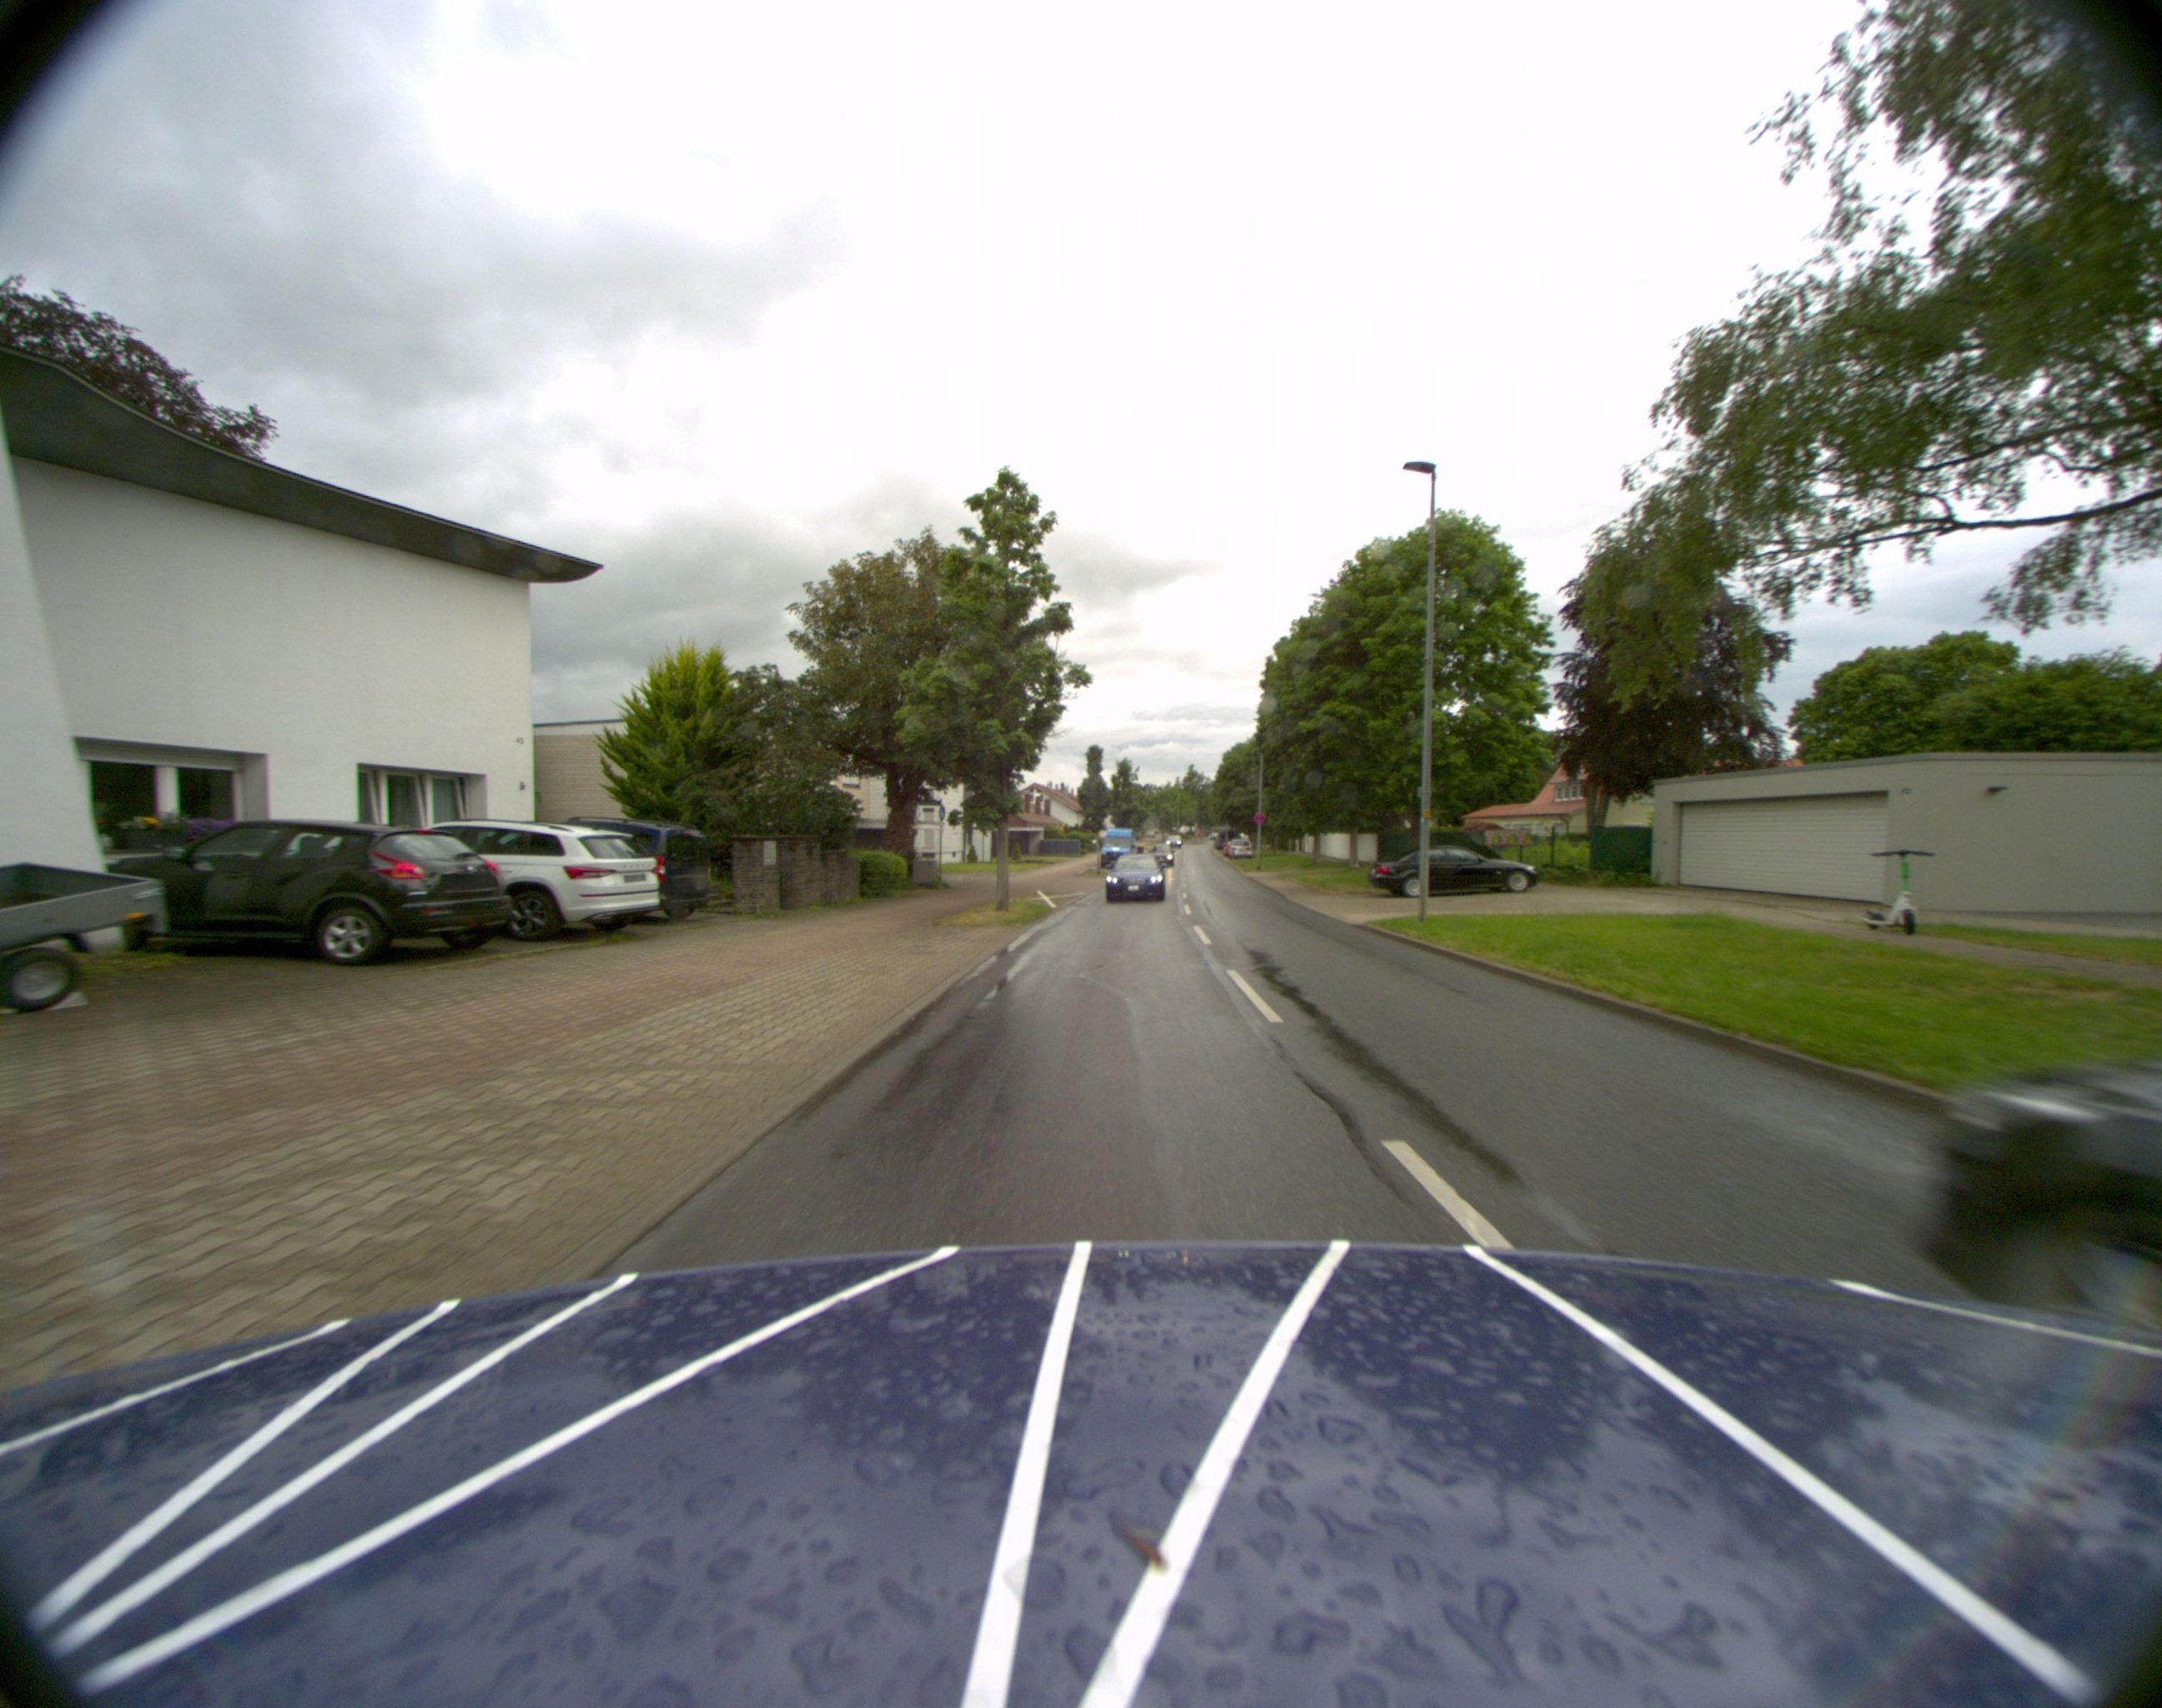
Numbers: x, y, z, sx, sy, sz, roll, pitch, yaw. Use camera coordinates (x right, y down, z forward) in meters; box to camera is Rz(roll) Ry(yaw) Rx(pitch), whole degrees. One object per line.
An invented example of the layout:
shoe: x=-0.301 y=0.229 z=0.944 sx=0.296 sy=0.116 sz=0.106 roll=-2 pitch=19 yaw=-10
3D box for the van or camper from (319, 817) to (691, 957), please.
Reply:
van or camper: x=-8.477 y=0.430 z=11.476 sx=3.996 sy=1.668 sz=2.123 roll=4 pitch=1 yaw=3

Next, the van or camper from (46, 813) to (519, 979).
van or camper: x=-8.753 y=0.422 z=8.600 sx=3.411 sy=1.547 sz=1.769 roll=2 pitch=1 yaw=-2

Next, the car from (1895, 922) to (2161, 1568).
car: x=3.342 y=0.920 z=0.233 sx=1.759 sy=1.432 sz=4.157 roll=-2 pitch=0 yaw=1

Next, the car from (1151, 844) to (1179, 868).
car: x=5.920 y=0.122 z=54.010 sx=1.846 sy=1.531 sz=4.001 roll=-2 pitch=1 yaw=5

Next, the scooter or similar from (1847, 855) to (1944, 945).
scooter or similar: x=11.366 y=0.609 z=10.647 sx=0.424 sy=1.151 sz=1.492 roll=-2 pitch=0 yaw=27

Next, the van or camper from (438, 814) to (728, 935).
van or camper: x=-8.932 y=0.318 z=13.831 sx=4.021 sy=1.778 sz=1.948 roll=4 pitch=1 yaw=6

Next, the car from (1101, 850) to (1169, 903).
car: x=1.874 y=0.675 z=25.242 sx=1.894 sy=1.531 sz=4.002 roll=-2 pitch=1 yaw=8

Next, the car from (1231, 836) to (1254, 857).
car: x=13.350 y=-0.651 z=63.011 sx=1.774 sy=1.597 sz=4.002 roll=0 pitch=2 yaw=10

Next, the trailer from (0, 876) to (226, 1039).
trailer: x=-8.381 y=0.784 z=5.156 sx=1.423 sy=0.916 sz=3.274 roll=8 pitch=1 yaw=-1

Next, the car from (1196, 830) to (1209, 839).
car: x=19.921 y=-3.171 z=124.129 sx=1.894 sy=1.531 sz=4.003 roll=-2 pitch=1 yaw=11

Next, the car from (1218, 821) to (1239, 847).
car: x=16.656 y=-2.326 z=85.856 sx=2.246 sy=2.823 sz=5.046 roll=-1 pitch=2 yaw=10

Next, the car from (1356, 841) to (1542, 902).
car: x=10.405 y=0.479 z=21.782 sx=4.436 sy=1.409 sz=1.756 roll=-3 pitch=1 yaw=7

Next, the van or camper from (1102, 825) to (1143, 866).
van or camper: x=2.868 y=-0.641 z=51.394 sx=2.147 sy=2.594 sz=5.784 roll=2 pitch=2 yaw=8

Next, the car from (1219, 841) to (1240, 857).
car: x=13.350 y=-0.486 z=68.389 sx=1.705 sy=1.316 sz=3.845 roll=-2 pitch=1 yaw=10

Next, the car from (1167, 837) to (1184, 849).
car: x=12.020 y=-1.409 z=96.431 sx=1.894 sy=1.531 sz=4.002 roll=-2 pitch=1 yaw=9
